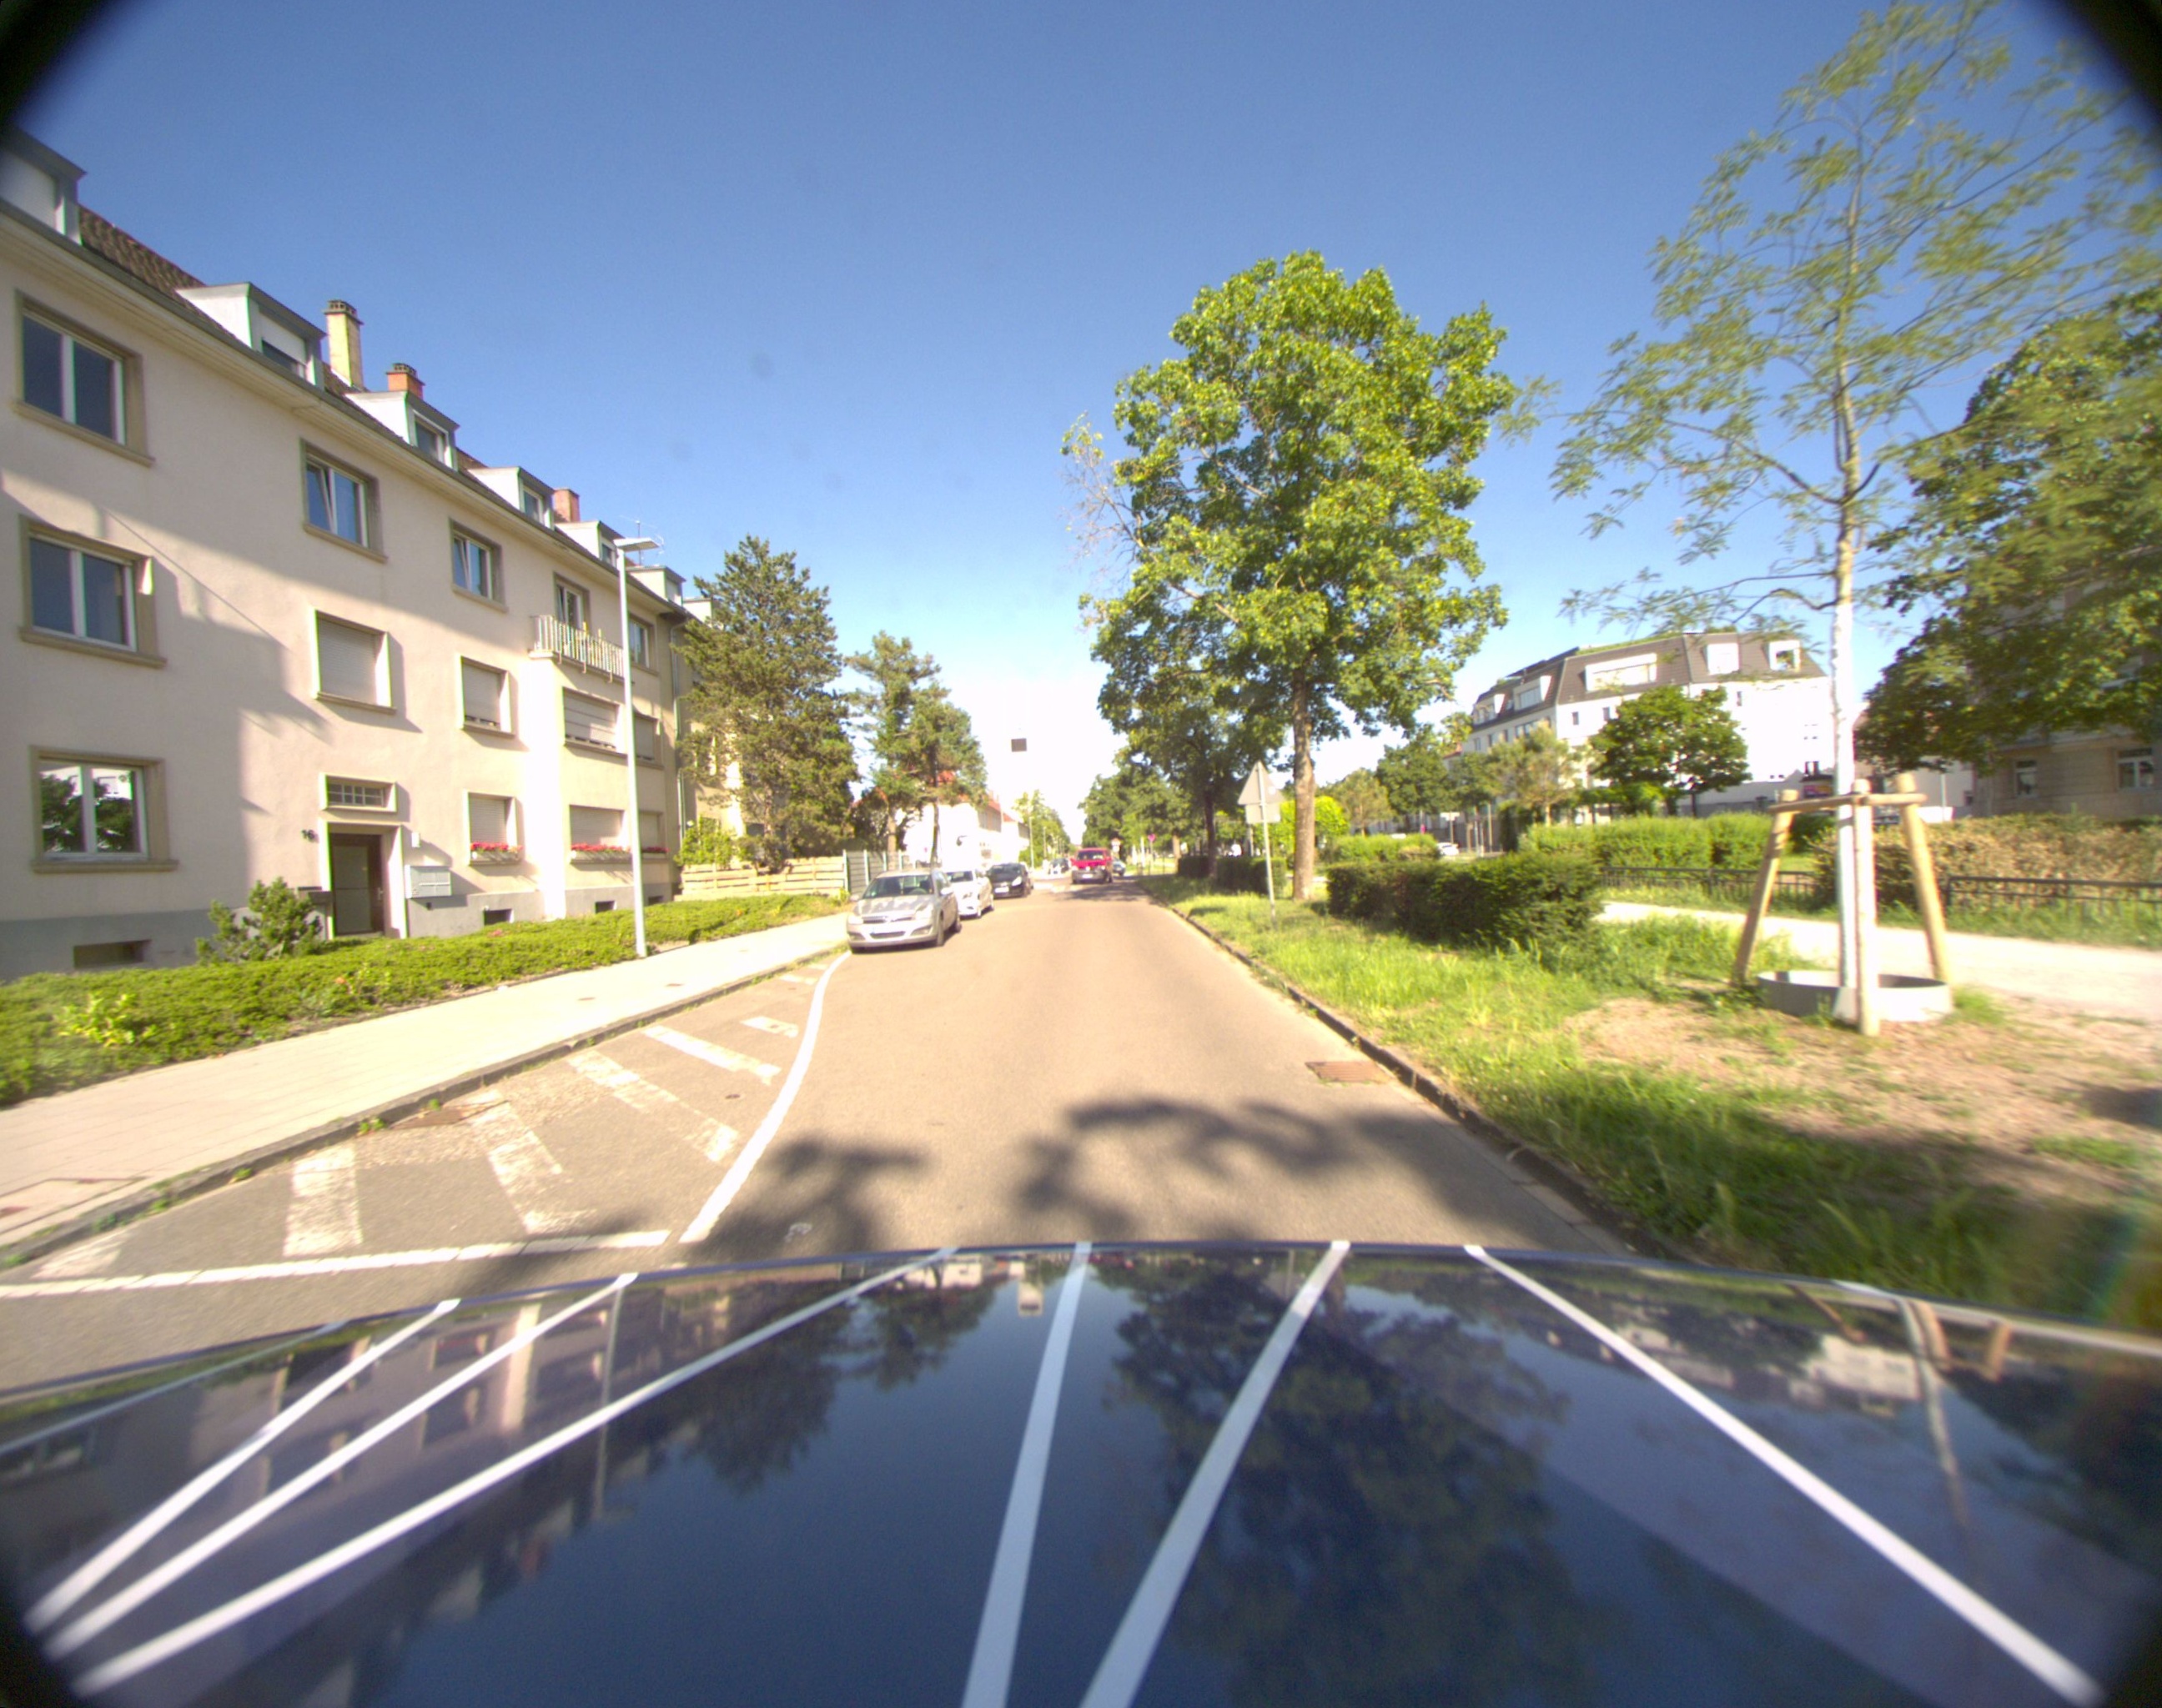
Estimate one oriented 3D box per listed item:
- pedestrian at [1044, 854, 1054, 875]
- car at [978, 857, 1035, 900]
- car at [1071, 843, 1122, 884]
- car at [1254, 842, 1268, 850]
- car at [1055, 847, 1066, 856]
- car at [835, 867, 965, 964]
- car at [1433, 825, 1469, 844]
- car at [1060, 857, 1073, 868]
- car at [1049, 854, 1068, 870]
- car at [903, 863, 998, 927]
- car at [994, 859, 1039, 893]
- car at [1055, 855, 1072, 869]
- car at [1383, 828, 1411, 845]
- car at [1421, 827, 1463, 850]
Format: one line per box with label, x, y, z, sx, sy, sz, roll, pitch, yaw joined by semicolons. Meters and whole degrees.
pedestrian;-2.562;0.827;60.173;0.650;1.658;0.649;-2;3;-11
car;-3.060;0.987;31.829;1.798;1.501;3.994;-5;1;1
car;0.937;0.448;41.917;2.091;2.001;4.846;-4;0;8
car;35.697;-1.540;150.846;1.799;1.501;3.999;-2;1;0
car;-3.919;-0.398;144.490;1.799;1.529;4.001;-3;-1;0
car;-3.456;1.098;15.354;1.664;1.456;4.409;-5;1;-3
car;40.869;-2.120;83.992;1.870;2.017;4.405;-2;1;0
car;-2.110;1.274;111.630;1.799;1.529;4.001;-3;-1;0
car;-2.398;0.845;81.254;1.799;1.529;4.001;-3;-1;0
car;-3.588;1.092;21.669;1.798;1.413;4.288;-5;1;1
car;-3.169;1.062;37.970;1.676;1.414;4.134;-5;1;1
car;-2.133;1.011;92.538;1.799;1.529;4.001;-3;-1;0
car;40.980;-2.268;98.697;1.941;2.017;4.406;-2;1;3
car;34.645;-1.435;73.011;1.870;2.017;4.406;-2;0;0
